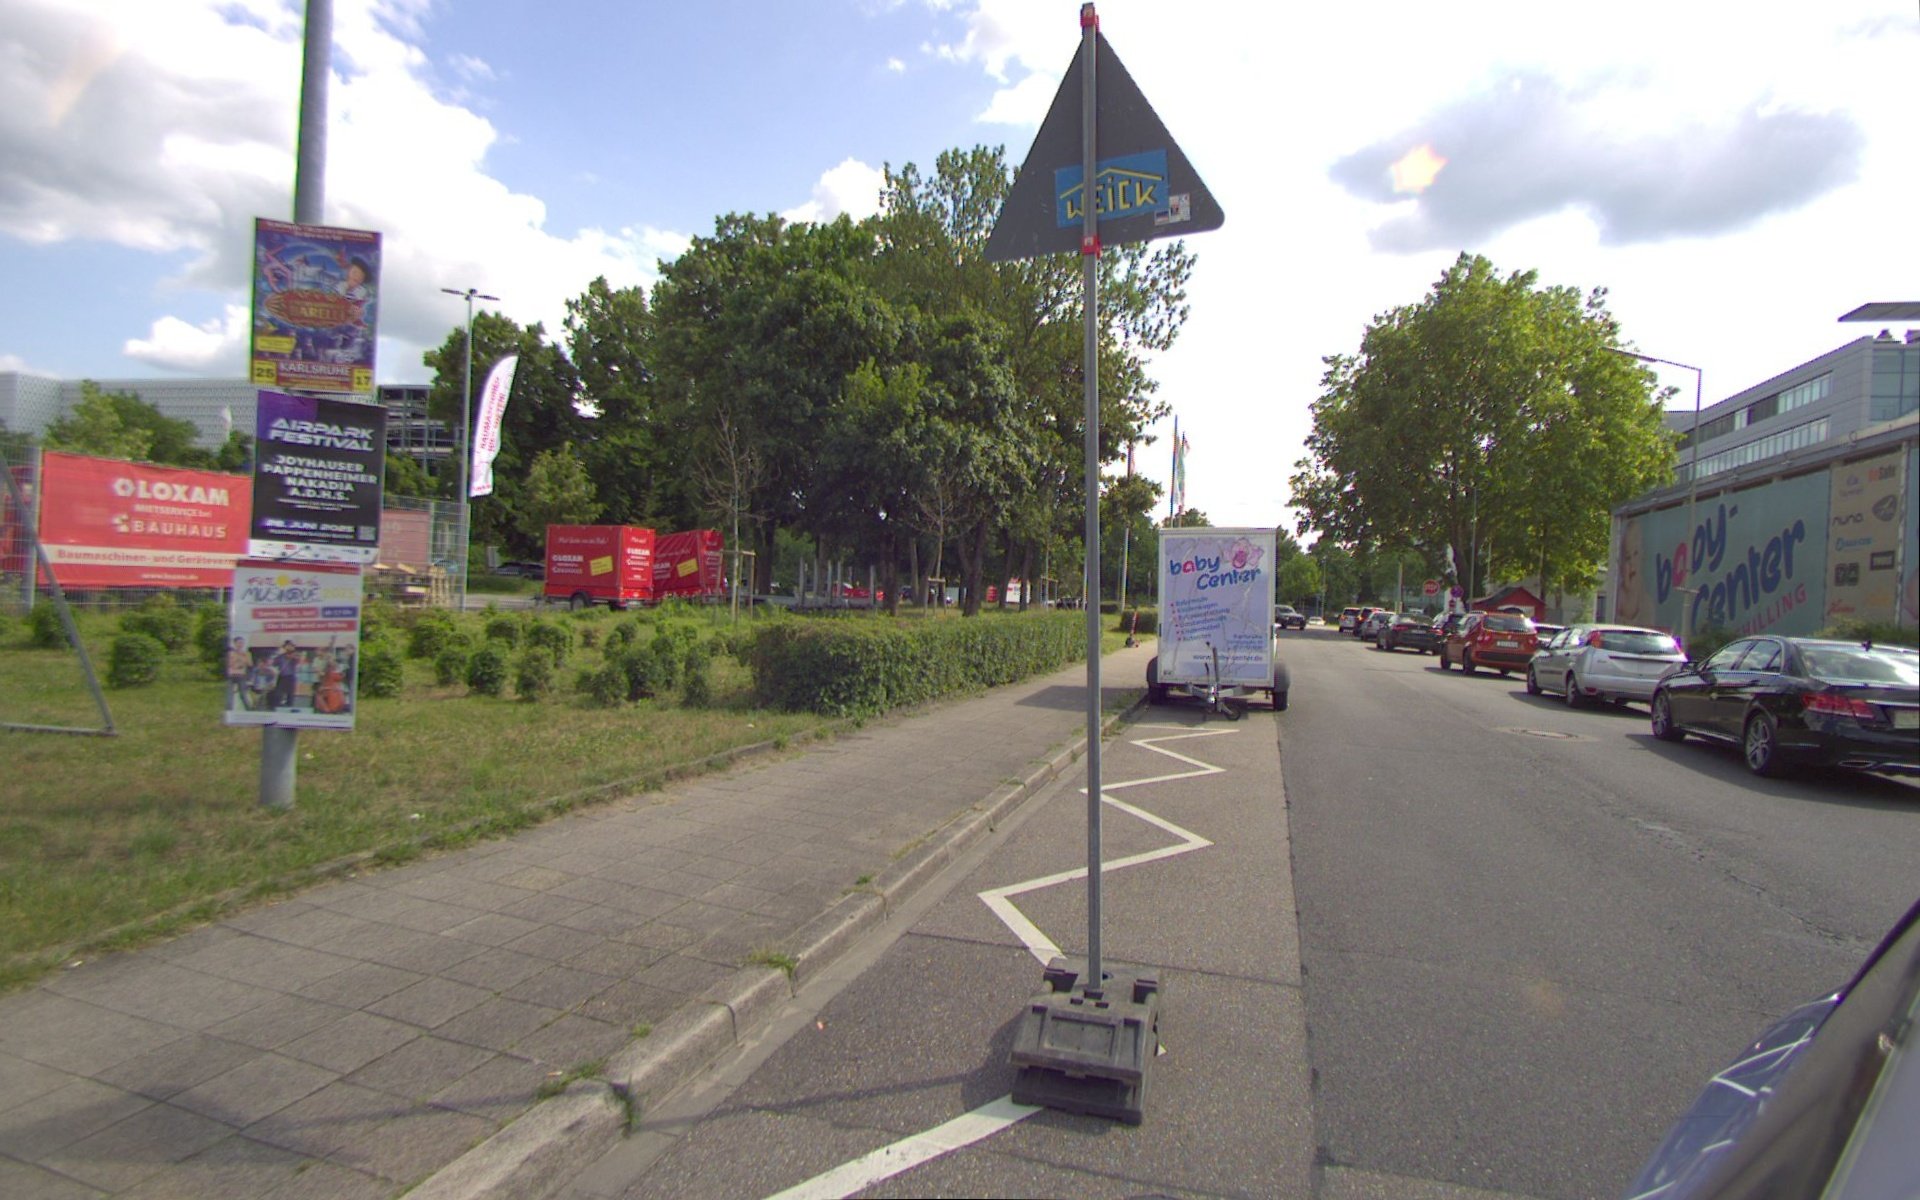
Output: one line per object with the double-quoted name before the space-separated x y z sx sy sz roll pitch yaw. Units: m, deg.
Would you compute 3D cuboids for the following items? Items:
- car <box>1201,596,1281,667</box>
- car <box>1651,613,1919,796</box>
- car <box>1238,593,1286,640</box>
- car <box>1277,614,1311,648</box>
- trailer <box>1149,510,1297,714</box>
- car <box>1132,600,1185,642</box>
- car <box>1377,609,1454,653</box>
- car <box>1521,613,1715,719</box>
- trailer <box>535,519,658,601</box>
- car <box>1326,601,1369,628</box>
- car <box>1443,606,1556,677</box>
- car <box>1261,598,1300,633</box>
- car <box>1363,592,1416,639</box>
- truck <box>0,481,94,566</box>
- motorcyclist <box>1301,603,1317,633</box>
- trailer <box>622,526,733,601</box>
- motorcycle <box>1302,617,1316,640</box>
"car" 6.759 0.709 24.289 1.694 1.559 3.668 -1 0 16
"car" 9.361 0.979 10.986 1.830 1.518 4.528 3 1 19
"car" 14.129 0.727 47.219 1.975 2.039 3.974 0 0 20
"car" 21.560 1.951 65.382 1.973 2.039 3.978 0 0 17
"trailer" 3.792 0.119 14.444 1.744 2.449 4.255 0 1 16
"car" 7.834 0.836 39.726 1.694 1.560 3.668 -1 -1 16
"car" 16.901 1.087 37.789 1.987 1.422 4.761 2 1 17
"car" 11.517 1.063 18.031 1.769 1.509 3.928 3 1 16
"trailer" -9.811 -1.068 27.357 2.760 2.039 1.490 3 1 19
"car" 24.766 0.895 64.808 1.970 1.603 3.984 3 1 13
"car" 13.441 0.982 25.410 1.576 1.522 3.492 3 1 13
"car" 18.003 0.825 56.787 1.975 1.818 3.974 0 0 20
"car" 20.193 0.707 47.708 1.975 2.039 3.974 3 1 20
"truck" -45.140 -3.682 47.419 8.922 3.643 2.714 4 1 19
"motorcyclist" 19.411 1.005 56.258 0.763 1.618 0.900 0 0 15
"trailer" -8.432 -1.078 30.247 2.756 2.039 1.493 3 0 15
"motorcycle" 19.406 1.581 56.286 0.636 1.262 1.949 0 -1 16
